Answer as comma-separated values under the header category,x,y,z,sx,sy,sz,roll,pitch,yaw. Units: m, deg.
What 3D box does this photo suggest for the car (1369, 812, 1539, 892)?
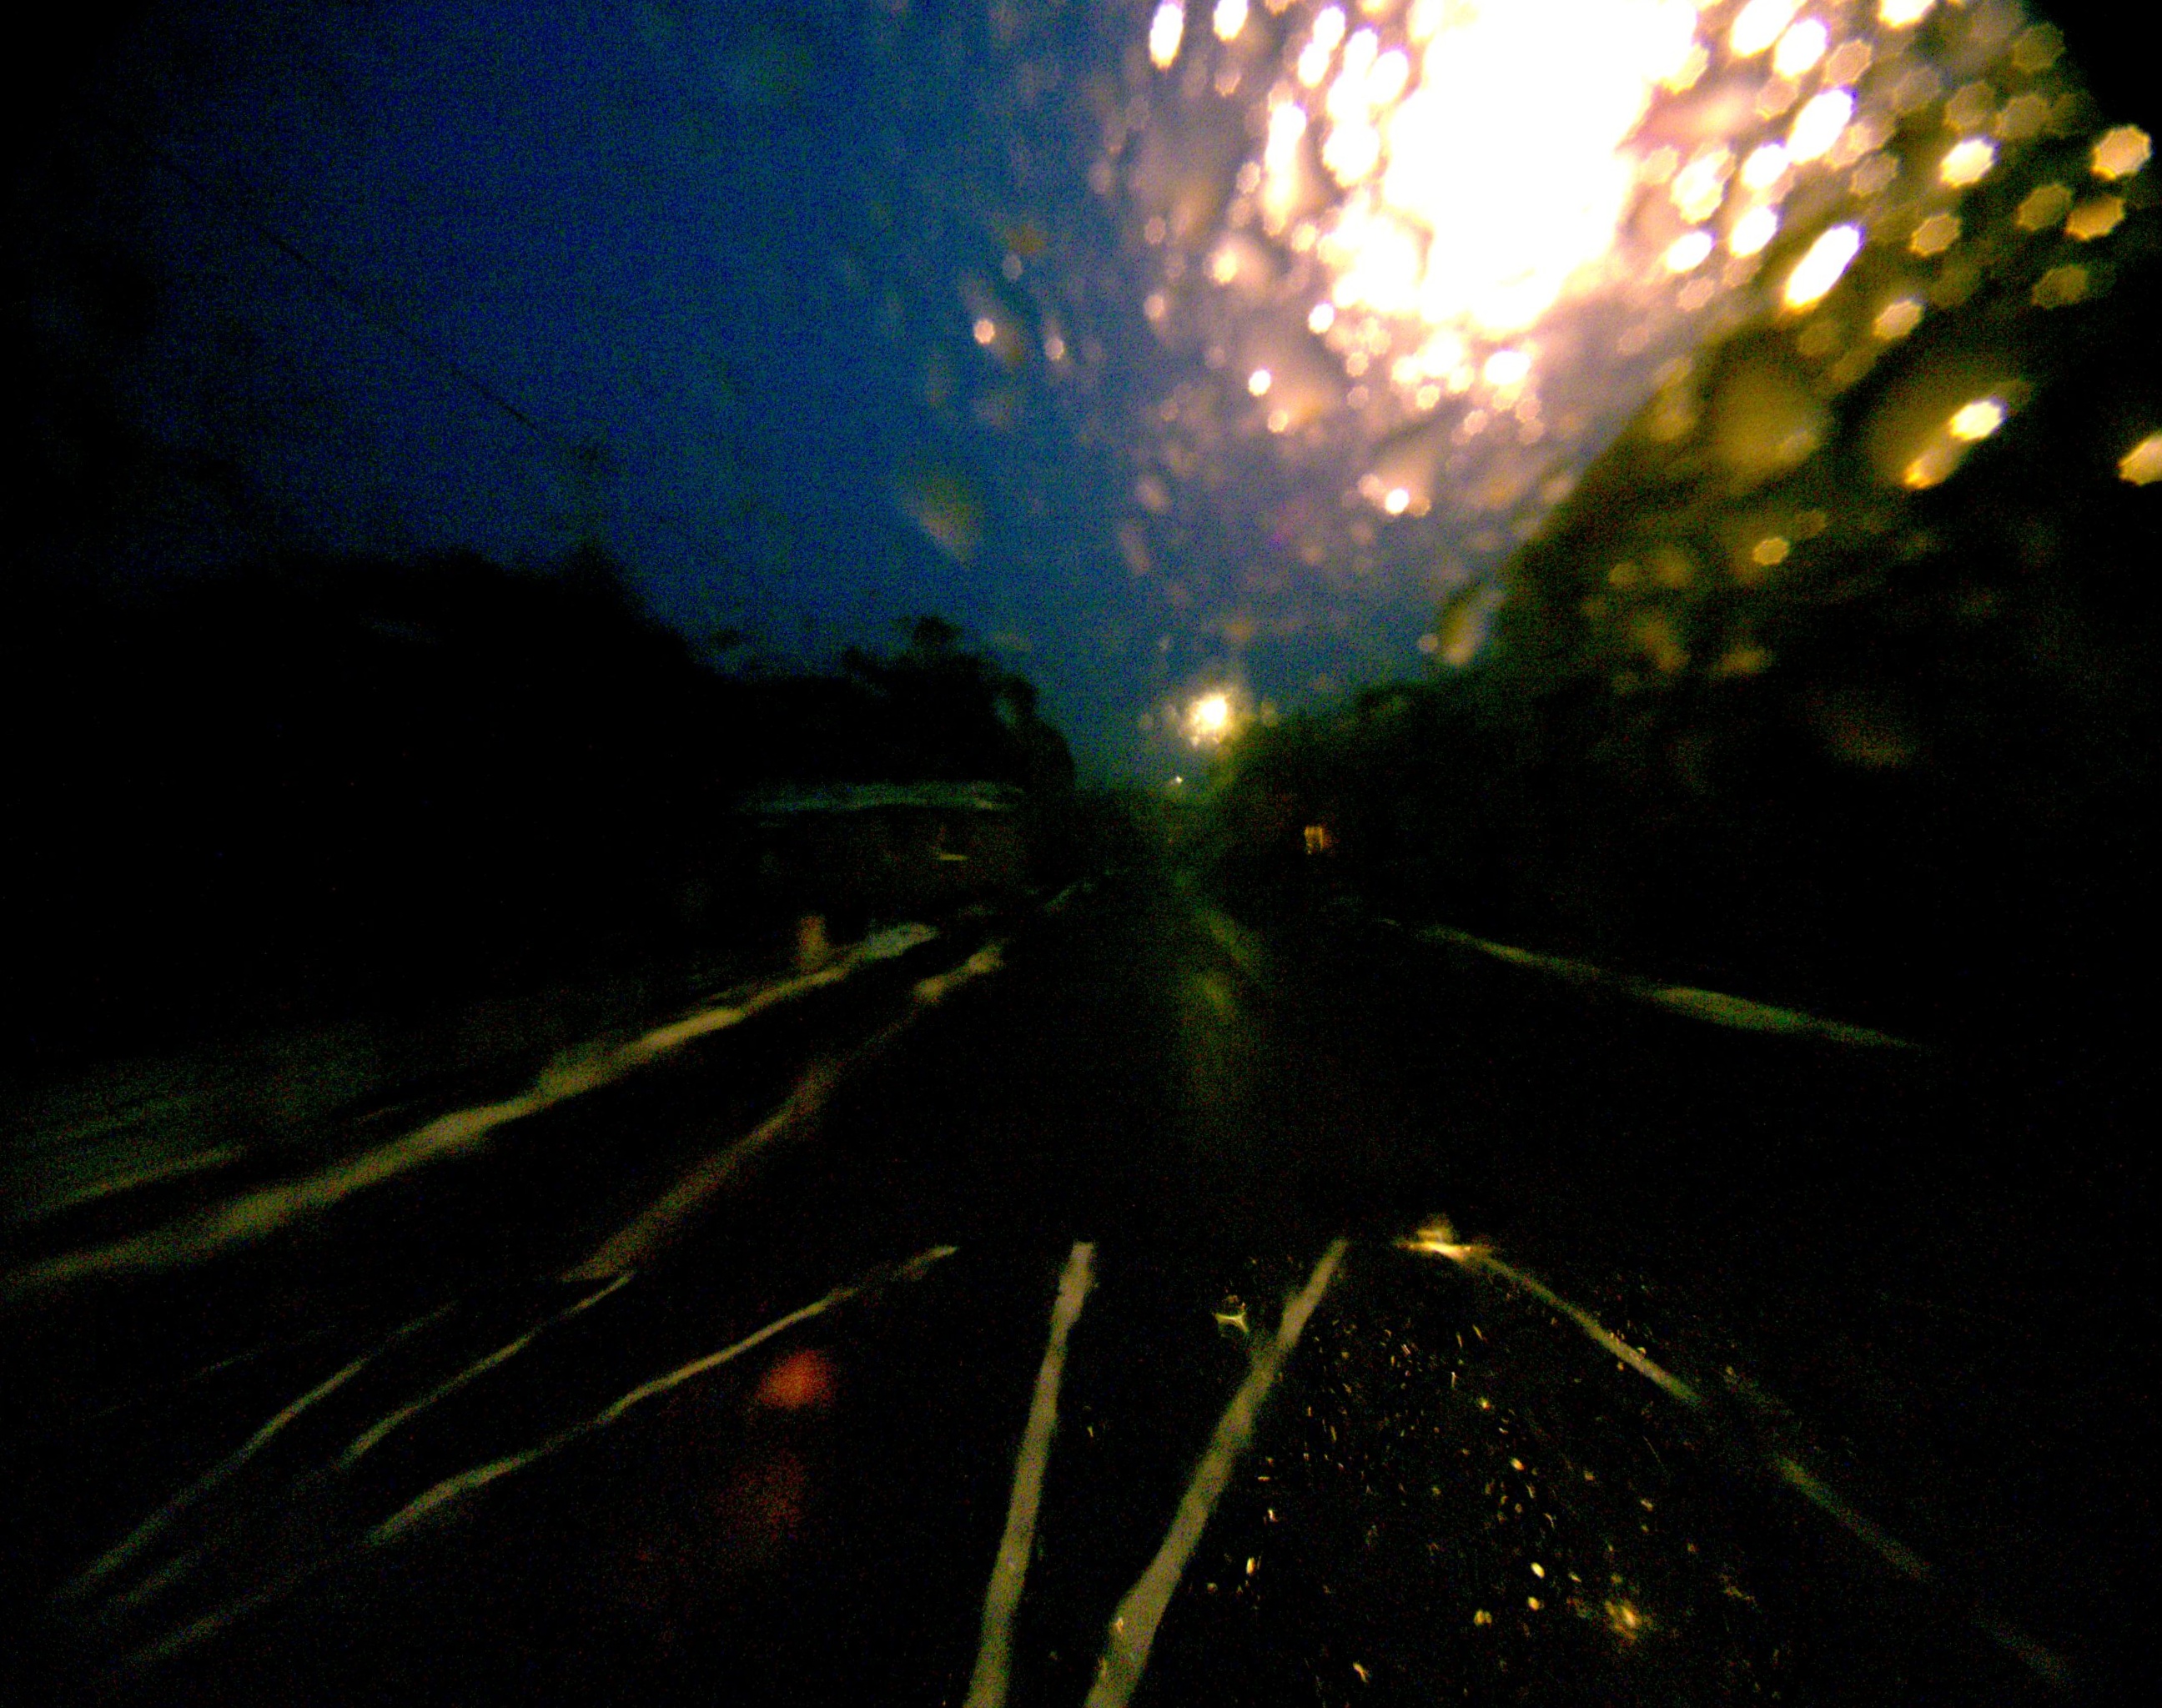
category,x,y,z,sx,sy,sz,roll,pitch,yaw
car,9.840,0.037,20.544,1.769,1.726,4.638,-7,-1,-6

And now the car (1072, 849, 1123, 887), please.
category,x,y,z,sx,sy,sz,roll,pitch,yaw
car,0.831,0.594,34.724,1.914,1.472,4.283,-2,1,6

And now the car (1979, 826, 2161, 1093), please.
category,x,y,z,sx,sy,sz,roll,pitch,yaw
car,7.249,0.554,3.155,1.999,1.513,4.190,-4,-1,0
